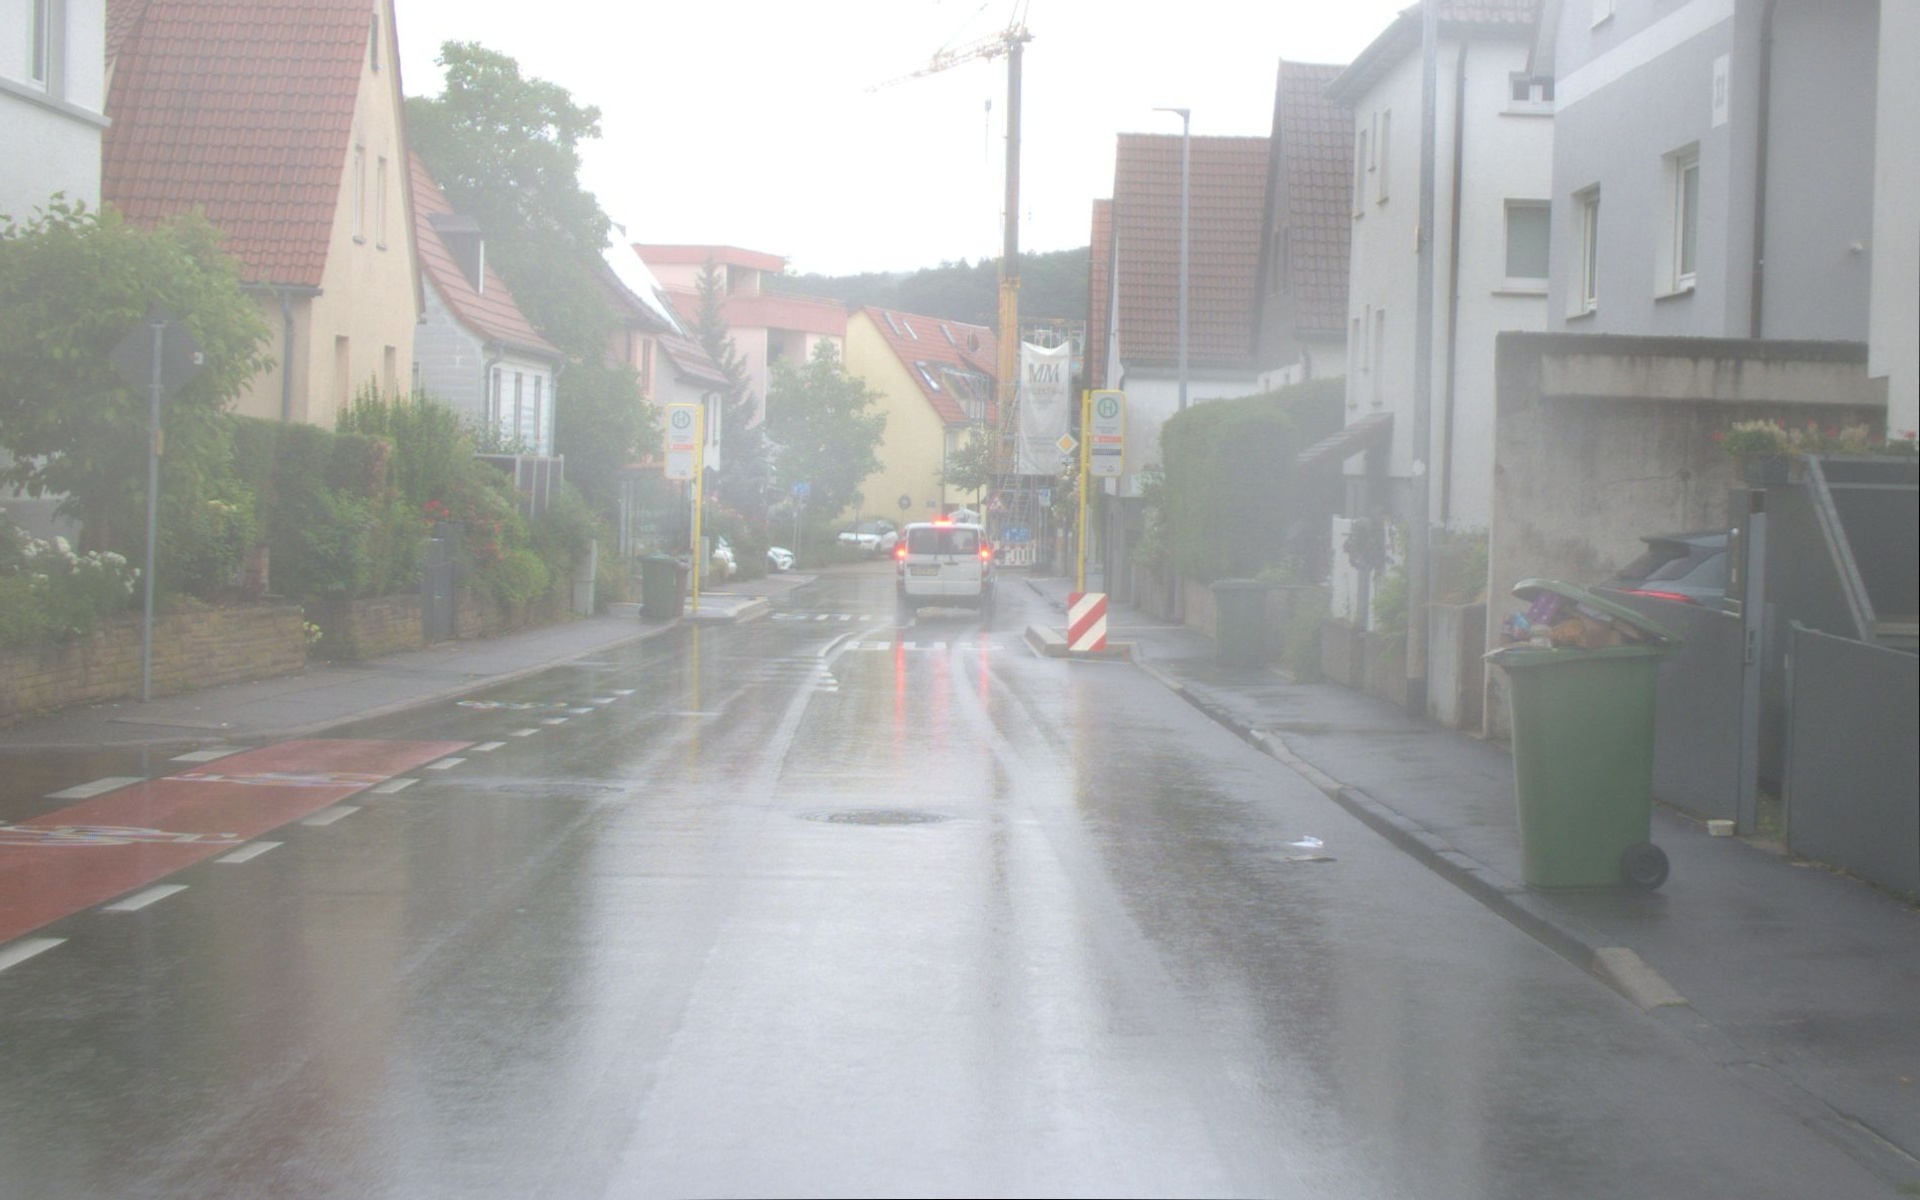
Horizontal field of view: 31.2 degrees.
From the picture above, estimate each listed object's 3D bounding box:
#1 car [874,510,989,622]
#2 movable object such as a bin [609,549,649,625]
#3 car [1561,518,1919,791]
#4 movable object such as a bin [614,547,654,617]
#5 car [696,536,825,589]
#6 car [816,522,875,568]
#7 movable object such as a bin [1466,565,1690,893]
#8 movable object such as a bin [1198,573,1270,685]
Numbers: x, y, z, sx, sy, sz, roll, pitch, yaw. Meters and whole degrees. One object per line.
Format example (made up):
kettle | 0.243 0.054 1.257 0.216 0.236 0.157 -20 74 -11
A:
car | -0.535 -0.706 68.161 2.117 1.881 4.503 3 4 0
movable object such as a bin | -6.069 -0.239 63.043 0.682 1.318 0.639 3 3 -5
car | 5.789 0.365 22.422 3.373 1.557 1.515 3 4 -1
movable object such as a bin | -6.056 -0.339 63.867 0.682 1.219 0.639 3 3 -5
car | -7.064 -1.336 121.961 4.276 1.573 1.848 3 4 6
car | -4.567 -2.211 137.591 1.842 1.573 4.289 3 4 4
movable object such as a bin | 2.575 0.522 14.414 0.745 1.274 0.882 1 3 0
movable object such as a bin | 3.307 0.346 41.523 0.785 1.272 0.714 3 3 4
